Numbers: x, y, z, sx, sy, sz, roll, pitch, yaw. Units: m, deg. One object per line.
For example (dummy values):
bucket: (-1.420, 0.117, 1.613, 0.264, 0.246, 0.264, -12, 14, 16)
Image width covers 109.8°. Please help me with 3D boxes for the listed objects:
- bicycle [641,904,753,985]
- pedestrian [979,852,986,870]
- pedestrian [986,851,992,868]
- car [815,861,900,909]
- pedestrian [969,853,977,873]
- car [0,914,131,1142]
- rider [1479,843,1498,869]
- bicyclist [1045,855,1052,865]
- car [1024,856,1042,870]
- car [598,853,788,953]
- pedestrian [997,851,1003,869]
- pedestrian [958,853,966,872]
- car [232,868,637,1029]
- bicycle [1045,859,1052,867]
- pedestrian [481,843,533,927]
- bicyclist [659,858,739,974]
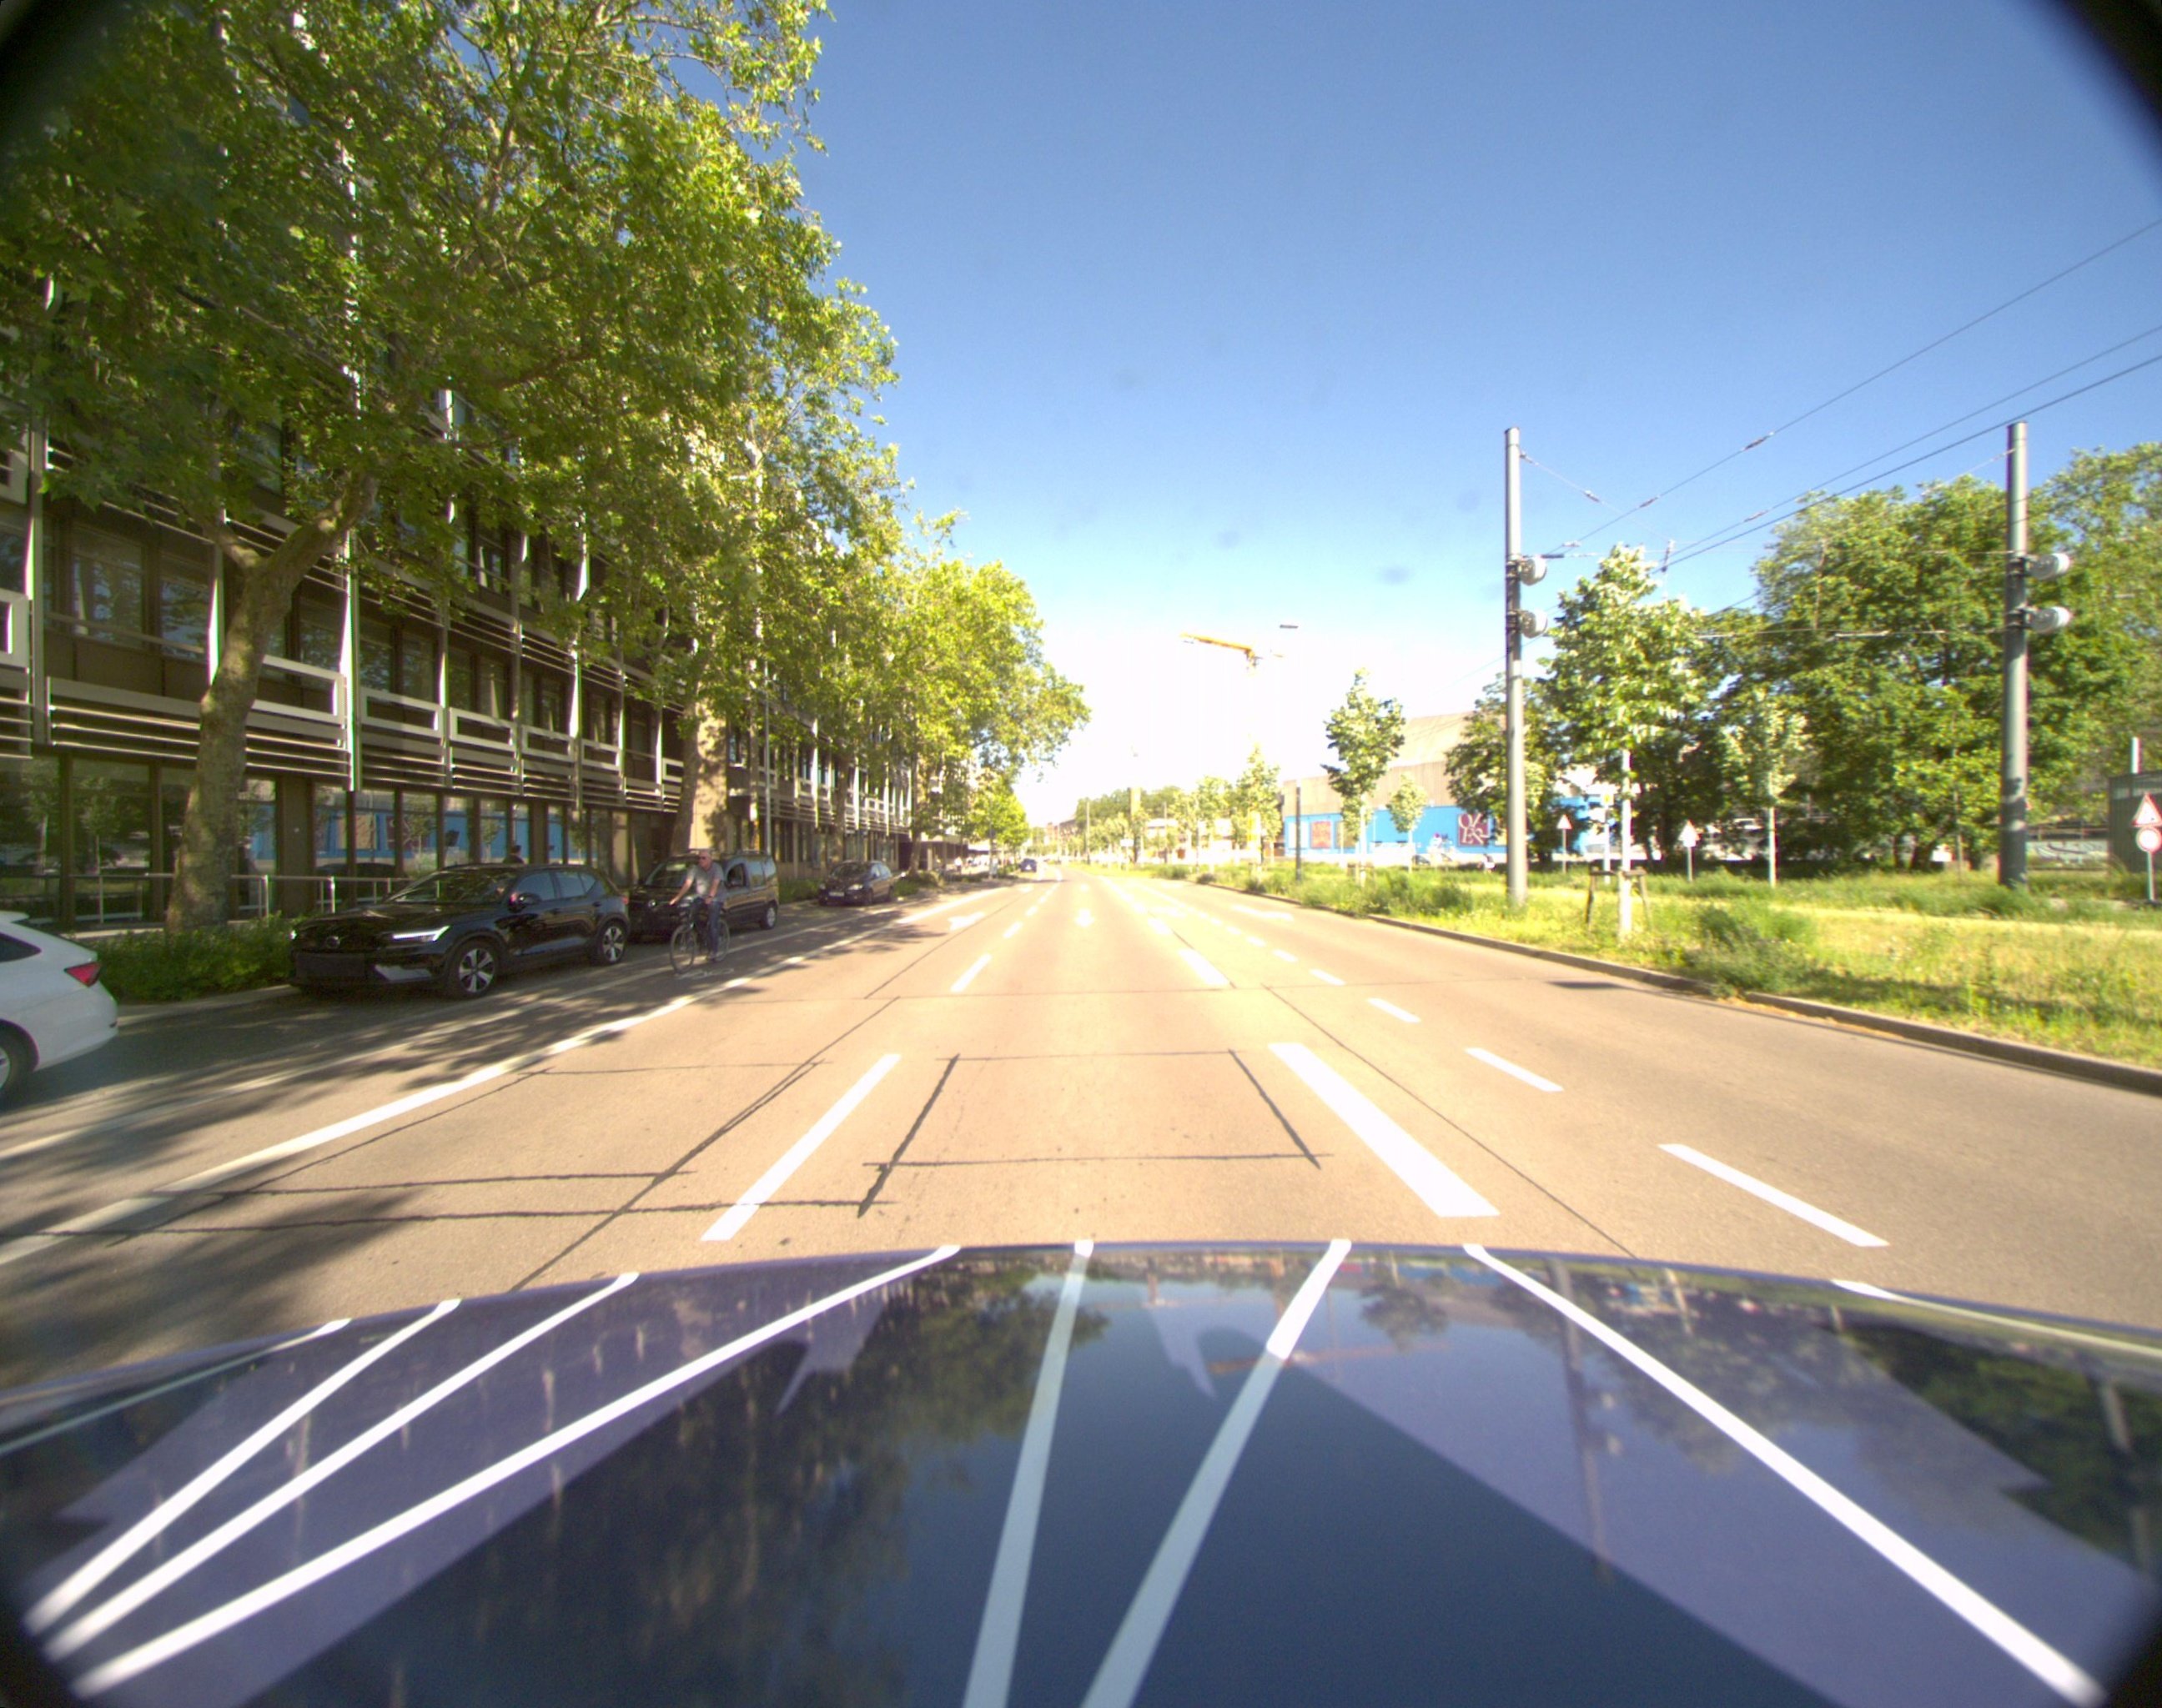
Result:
bicycle: (-5.788, 1.327, 11.583, 0.711, 0.987, 1.923, -3, 0, -1)
pedestrian: (-9.773, 0.714, 75.627, 0.591, 1.830, 0.569, -1, 0, 0)
pedestrian: (-10.115, 0.636, 83.520, 0.591, 1.830, 0.569, -1, 0, 0)
car: (-7.958, 1.044, 27.435, 1.752, 1.545, 4.337, 1, 0, 0)
pedestrian: (-9.935, 0.794, 69.769, 0.591, 1.830, 0.696, -1, 0, 0)
car: (-8.214, 1.199, 3.579, 1.752, 1.481, 4.560, 1, 0, 0)
rider: (23.926, 0.130, 44.586, 0.724, 1.513, 0.631, -1, 0, -2)
bicyclist: (-4.588, 0.869, 107.635, 0.830, 1.380, 0.904, -1, 0, 1)
car: (-5.698, 1.019, 90.459, 1.999, 1.597, 3.896, -1, 0, -1)
car: (-7.914, 0.900, 16.026, 1.752, 1.810, 4.337, 1, 0, 0)
pedestrian: (-8.500, 0.601, 79.718, 0.591, 1.830, 0.569, -1, 0, 0)
pedestrian: (-11.417, 0.777, 72.939, 0.591, 1.830, 0.697, -1, 0, 0)
car: (-8.156, 1.044, 10.260, 1.752, 1.624, 4.337, 1, 0, 0)
bicycle: (-4.590, 1.310, 107.636, 0.845, 1.123, 2.553, -1, 0, 1)
pedestrian: (-13.954, 0.746, 18.482, 0.741, 2.002, 0.626, -1, 0, 1)
bicyclist: (-5.800, 0.912, 11.579, 0.711, 1.677, 0.852, -3, 0, -1)
